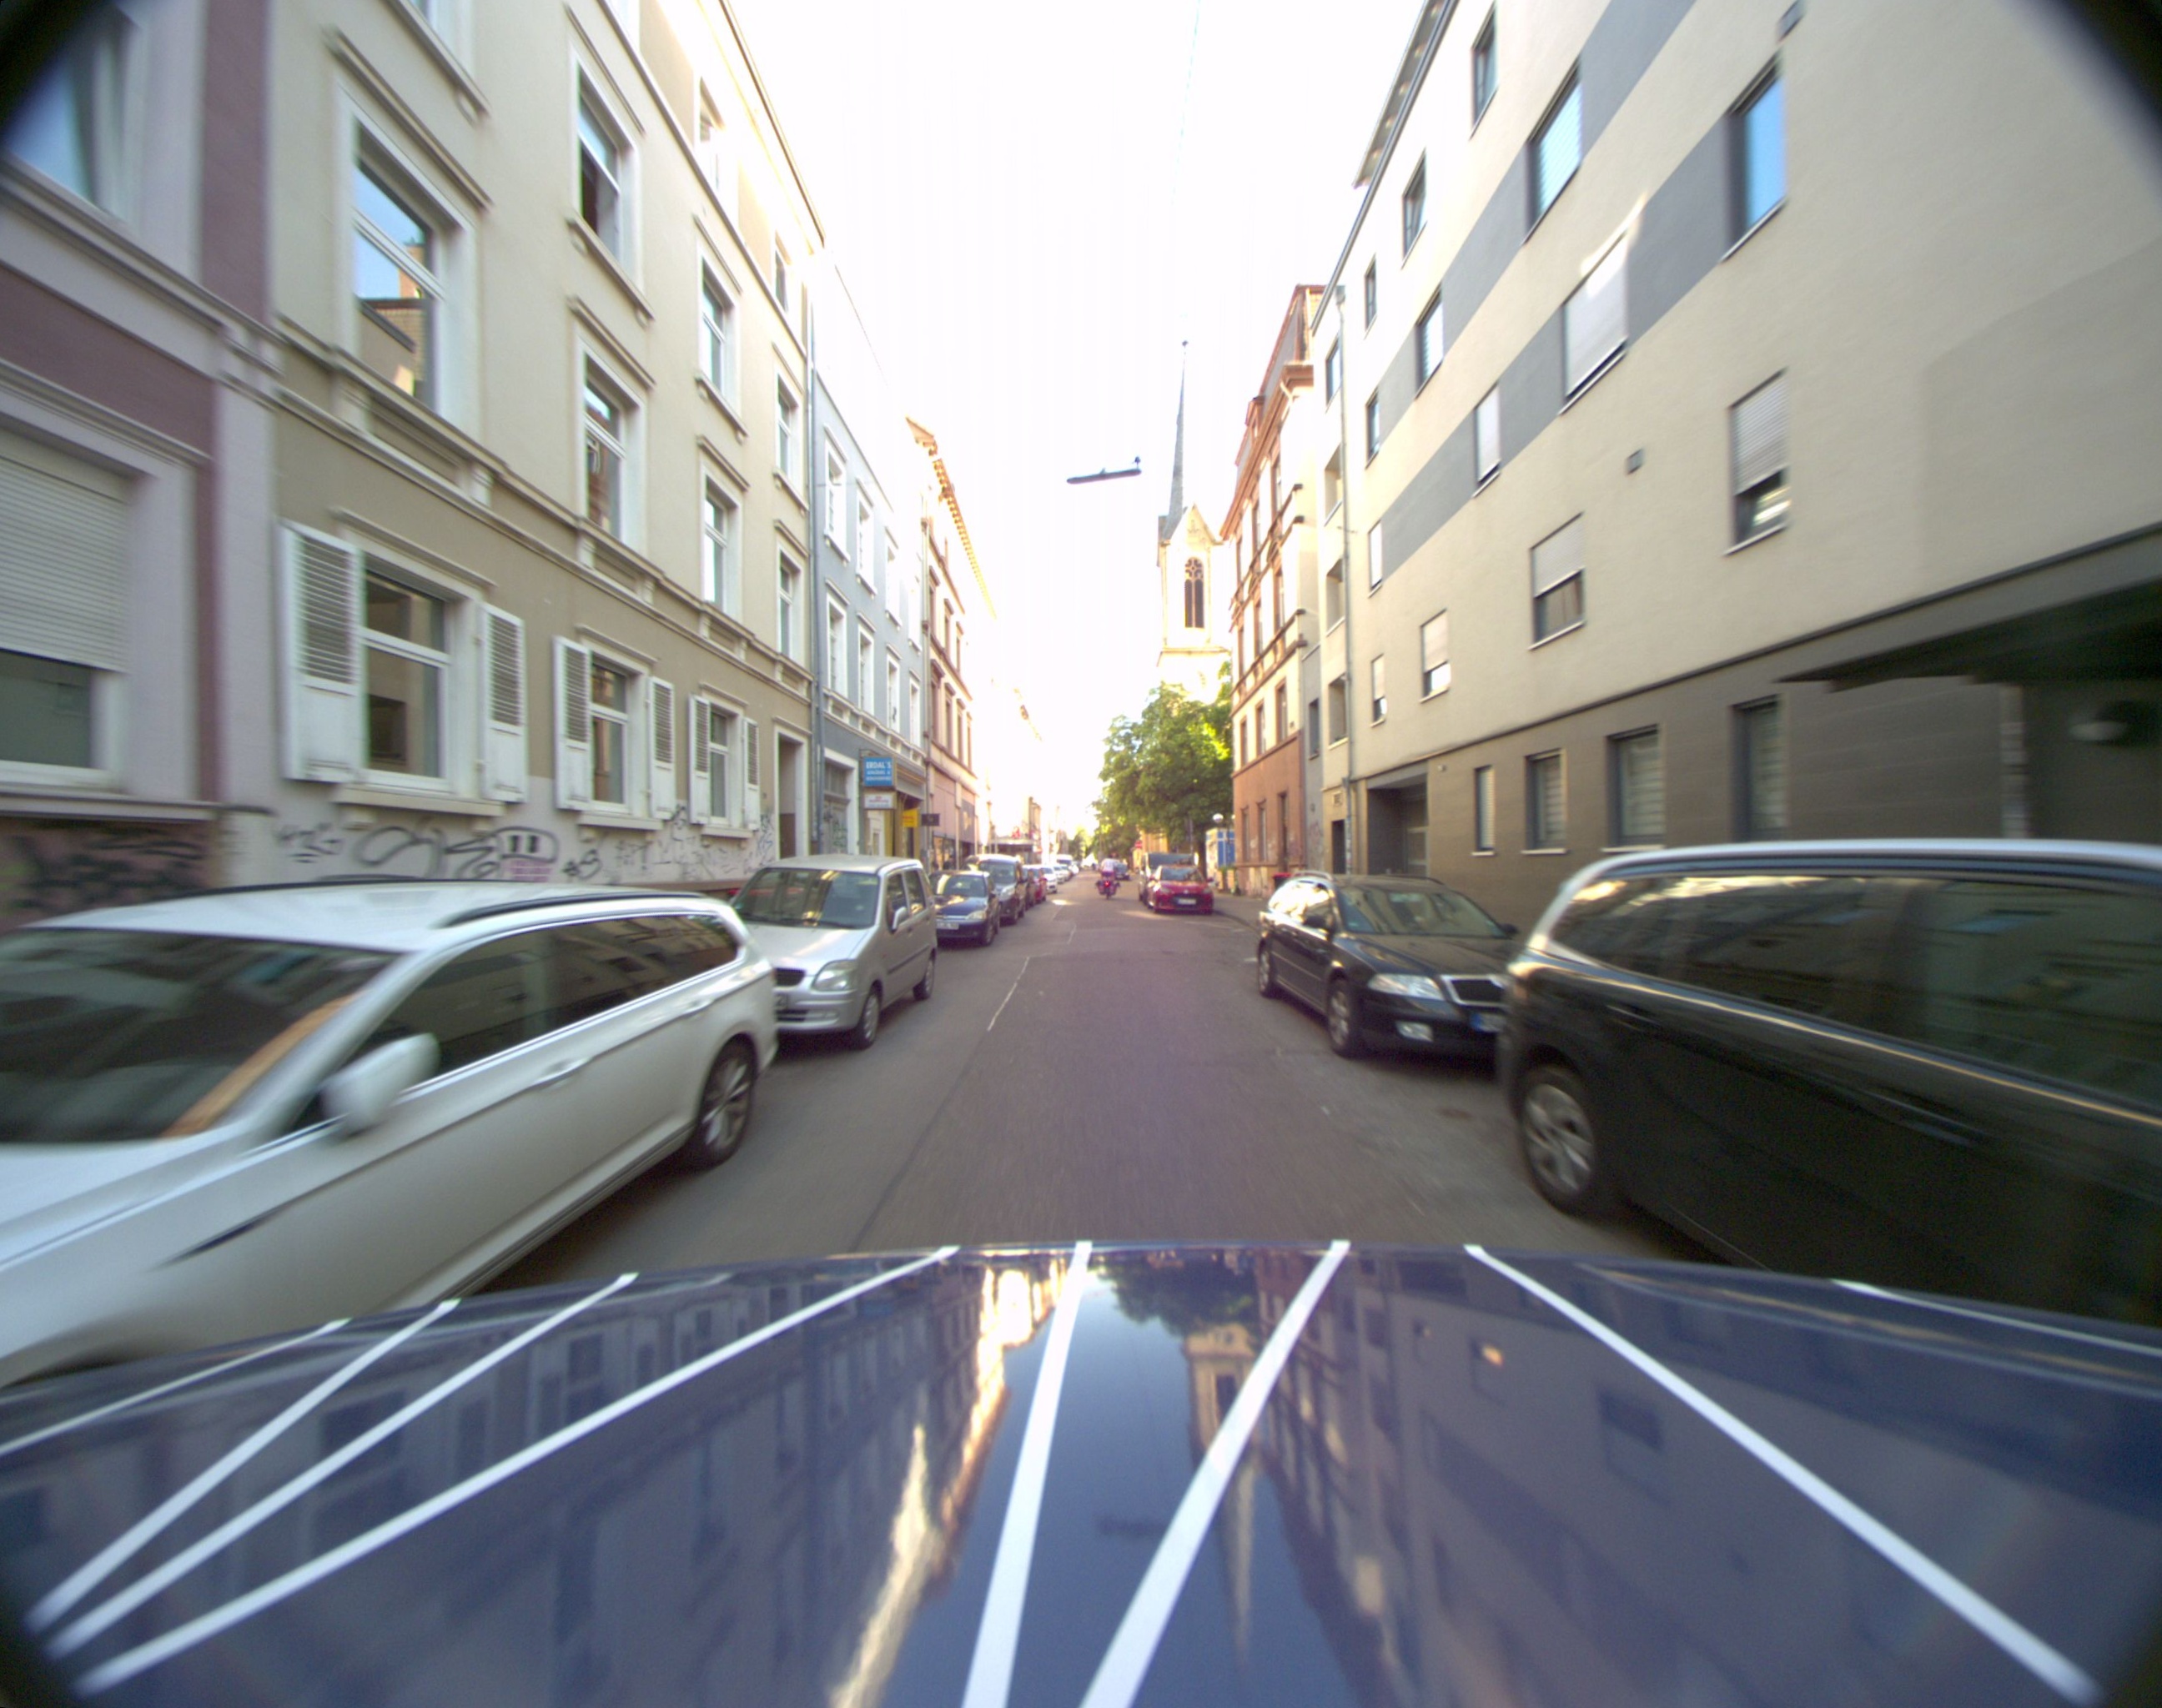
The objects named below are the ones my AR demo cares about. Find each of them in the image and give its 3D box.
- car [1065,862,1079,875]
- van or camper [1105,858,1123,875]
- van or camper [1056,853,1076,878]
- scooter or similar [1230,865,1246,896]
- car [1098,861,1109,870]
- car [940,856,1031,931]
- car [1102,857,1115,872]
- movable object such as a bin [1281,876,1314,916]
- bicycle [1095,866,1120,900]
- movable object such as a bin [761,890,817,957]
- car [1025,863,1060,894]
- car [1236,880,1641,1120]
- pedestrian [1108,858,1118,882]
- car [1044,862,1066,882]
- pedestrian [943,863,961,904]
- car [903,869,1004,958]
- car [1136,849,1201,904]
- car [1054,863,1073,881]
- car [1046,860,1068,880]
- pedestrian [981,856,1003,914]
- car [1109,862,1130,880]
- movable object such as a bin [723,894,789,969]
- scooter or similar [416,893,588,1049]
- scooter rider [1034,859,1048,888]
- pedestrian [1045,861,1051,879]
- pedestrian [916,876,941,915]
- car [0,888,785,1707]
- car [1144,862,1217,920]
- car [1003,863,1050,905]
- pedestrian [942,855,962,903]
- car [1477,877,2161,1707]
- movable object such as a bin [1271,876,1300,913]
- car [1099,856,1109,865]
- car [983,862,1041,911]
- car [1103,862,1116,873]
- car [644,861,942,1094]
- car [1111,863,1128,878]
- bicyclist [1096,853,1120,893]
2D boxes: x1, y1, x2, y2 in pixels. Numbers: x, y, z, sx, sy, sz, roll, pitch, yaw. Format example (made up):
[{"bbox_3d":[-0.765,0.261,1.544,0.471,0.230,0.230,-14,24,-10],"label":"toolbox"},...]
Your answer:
[{"bbox_3d":[-1.179,1.888,100.344,1.696,1.615,3.964,-1,0,1],"label":"car"},{"bbox_3d":[3.856,1.480,90.028,1.984,1.939,4.563,-1,0,1],"label":"van or camper"},{"bbox_3d":[-1.641,1.271,86.081,1.998,2.617,5.979,-2,0,1],"label":"van or camper"},{"bbox_3d":[6.391,1.069,30.907,0.348,1.209,1.391,-2,0,0],"label":"scooter or similar"},{"bbox_3d":[4.085,2.120,140.124,1.777,1.614,4.022,-1,0,-1],"label":"car"},{"bbox_3d":[-2.484,0.985,20.845,1.904,1.783,4.315,-2,0,0],"label":"car"},{"bbox_3d":[3.996,1.591,111.487,1.777,2.127,4.023,-1,0,1],"label":"car"},{"bbox_3d":[6.088,1.179,21.394,0.731,1.060,0.505,-2,1,-31],"label":"movable object such as a bin"},{"bbox_3d":[1.122,1.191,31.897,0.979,1.306,2.556,1,-1,3],"label":"bicycle"},{"bbox_3d":[-5.022,1.177,13.086,0.696,1.081,0.632,1,0,0],"label":"movable object such as a bin"},{"bbox_3d":[-2.054,1.283,41.371,1.792,1.507,4.136,-2,0,-2],"label":"car"},{"bbox_3d":[2.827,1.042,7.278,1.721,1.470,4.499,2,-1,0],"label":"car"},{"bbox_3d":[2.526,1.274,60.438,0.718,1.862,0.720,-2,1,0],"label":"pedestrian"},{"bbox_3d":[-2.169,1.516,64.949,1.704,1.640,4.063,-2,0,-1],"label":"car"},{"bbox_3d":[-4.857,1.093,28.604,0.589,1.521,0.658,-2,1,-5],"label":"pedestrian"},{"bbox_3d":[-2.497,1.113,15.634,1.556,1.502,3.611,-2,0,-2],"label":"car"},{"bbox_3d":[3.241,0.807,29.136,2.025,1.868,5.298,-1,-1,2],"label":"car"},{"bbox_3d":[-1.574,1.677,70.162,1.558,1.517,4.201,-2,0,1],"label":"car"},{"bbox_3d":[-1.907,1.253,60.030,1.694,1.454,3.640,-2,0,-2],"label":"car"},{"bbox_3d":[-2.735,0.941,23.313,0.428,1.730,0.561,-2,1,-34],"label":"pedestrian"},{"bbox_3d":[3.463,1.513,68.671,1.798,1.543,3.834,-2,0,1],"label":"car"},{"bbox_3d":[-4.990,1.176,11.705,0.754,1.081,0.559,1,0,0],"label":"movable object such as a bin"},{"bbox_3d":[-5.146,0.987,6.852,0.451,1.176,1.368,3,0,0],"label":"scooter or similar"},{"bbox_3d":[-2.457,1.207,47.145,0.610,1.768,0.566,-1,1,40],"label":"scooter rider"},{"bbox_3d":[-3.342,1.641,77.692,0.563,1.883,0.530,-2,1,0],"label":"pedestrian"},{"bbox_3d":[-4.905,1.325,24.438,0.530,1.215,0.515,-1,1,40],"label":"pedestrian"},{"bbox_3d":[-2.792,1.009,2.607,1.701,1.534,4.629,1,0,0],"label":"car"},{"bbox_3d":[2.988,1.065,23.530,1.755,1.513,3.869,3,0,1],"label":"car"},{"bbox_3d":[-2.203,1.207,31.500,1.610,1.563,3.553,-2,0,0],"label":"car"},{"bbox_3d":[-4.741,0.921,27.950,0.630,1.730,0.658,-2,1,-12],"label":"pedestrian"},{"bbox_3d":[2.861,0.926,1.673,1.721,1.640,4.246,2,-1,0],"label":"car"},{"bbox_3d":[5.996,1.180,22.280,0.760,1.060,0.652,-1,1,20],"label":"movable object such as a bin"},{"bbox_3d":[4.419,1.202,145.973,1.777,1.614,4.022,-1,0,-1],"label":"car"},{"bbox_3d":[-2.392,1.101,27.116,1.573,1.548,3.314,3,0,3],"label":"car"},{"bbox_3d":[3.931,1.834,106.072,1.696,1.529,3.814,-1,0,1],"label":"car"},{"bbox_3d":[-2.515,0.956,7.562,1.560,1.702,3.558,-2,0,0],"label":"car"},{"bbox_3d":[3.688,1.597,73.653,1.576,1.356,4.147,-1,0,2],"label":"car"},{"bbox_3d":[1.125,0.791,31.920,0.952,1.618,0.953,2,0,3],"label":"bicyclist"}]
